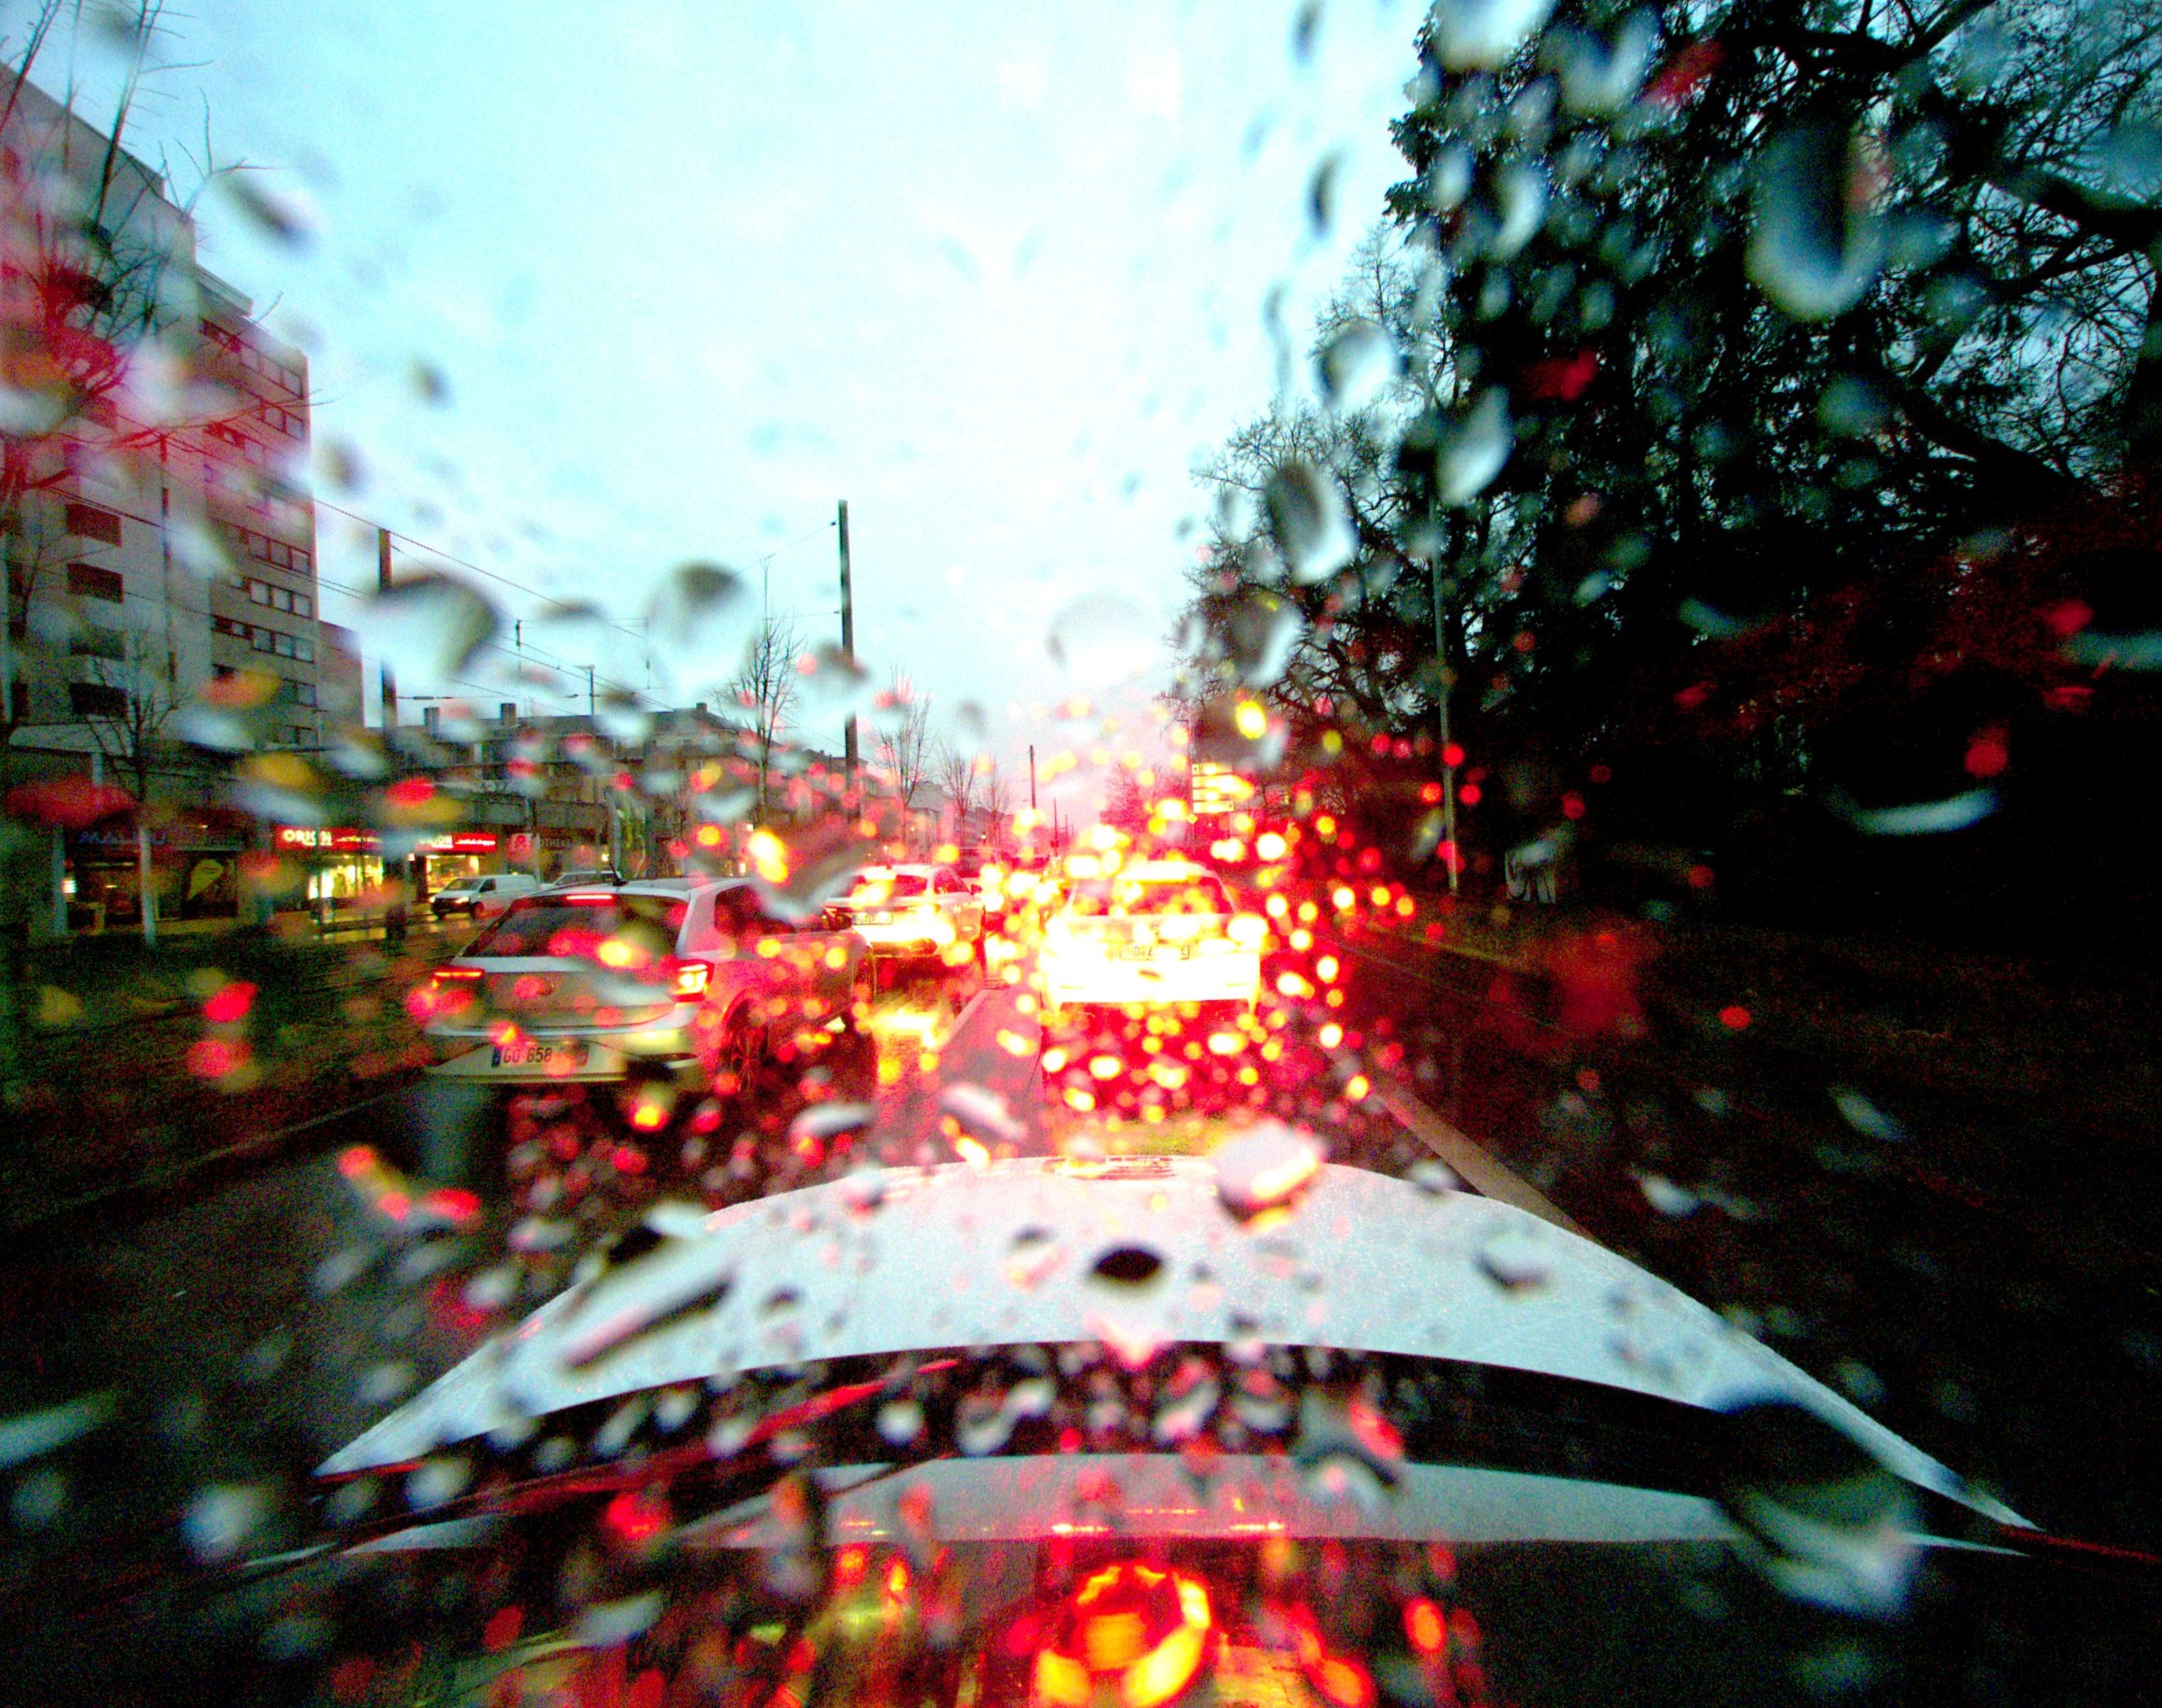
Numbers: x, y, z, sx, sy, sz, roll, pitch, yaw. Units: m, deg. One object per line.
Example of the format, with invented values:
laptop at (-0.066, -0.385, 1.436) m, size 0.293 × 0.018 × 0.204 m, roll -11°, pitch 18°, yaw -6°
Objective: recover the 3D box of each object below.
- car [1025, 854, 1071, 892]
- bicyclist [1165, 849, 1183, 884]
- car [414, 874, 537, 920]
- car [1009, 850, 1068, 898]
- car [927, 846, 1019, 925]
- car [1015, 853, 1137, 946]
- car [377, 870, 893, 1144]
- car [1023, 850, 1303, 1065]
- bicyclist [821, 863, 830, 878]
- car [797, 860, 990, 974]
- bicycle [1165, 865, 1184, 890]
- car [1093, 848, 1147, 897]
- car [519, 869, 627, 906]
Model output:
car at (-1.472, 0.839, 37.989) m, size 1.800 × 1.646 × 4.002 m, roll -1°, pitch 0°, yaw 2°
bicyclist at (3.814, 0.521, 33.491) m, size 0.642 × 1.389 × 0.891 m, roll -2°, pitch 0°, yaw 4°
car at (-29.732, 2.068, 40.248) m, size 1.986 × 1.912 × 5.166 m, roll -3°, pitch 0°, yaw 2°
car at (-1.506, 0.690, 30.147) m, size 1.800 × 1.646 × 4.002 m, roll -1°, pitch 0°, yaw 2°
car at (-2.601, 0.726, 20.633) m, size 1.788 × 1.736 × 4.534 m, roll -1°, pitch 0°, yaw -1°
car at (-0.015, 0.736, 15.257) m, size 1.928 × 1.457 × 4.165 m, roll -1°, pitch 0°, yaw 2°
car at (-2.834, 0.852, 6.327) m, size 1.756 × 1.371 × 3.981 m, roll -1°, pitch 0°, yaw 1°
car at (0.660, 0.750, 7.985) m, size 1.992 × 1.508 × 4.165 m, roll -1°, pitch 0°, yaw 2°
bicyclist at (-27.390, 1.792, 87.146) m, size 0.793 × 1.579 × 0.632 m, roll -1°, pitch -1°, yaw -28°
car at (-2.640, 0.821, 12.635) m, size 1.840 × 1.405 × 4.614 m, roll -1°, pitch 0°, yaw 1°
bicycle at (3.850, 0.958, 33.595) m, size 0.642 × 0.966 × 2.049 m, roll -2°, pitch 0°, yaw 4°
car at (1.411, 0.622, 29.902) m, size 1.800 × 1.646 × 4.002 m, roll -1°, pitch 0°, yaw 2°
car at (-30.720, 2.009, 49.370) m, size 5.193 × 1.912 × 1.975 m, roll -3°, pitch 0°, yaw -44°
